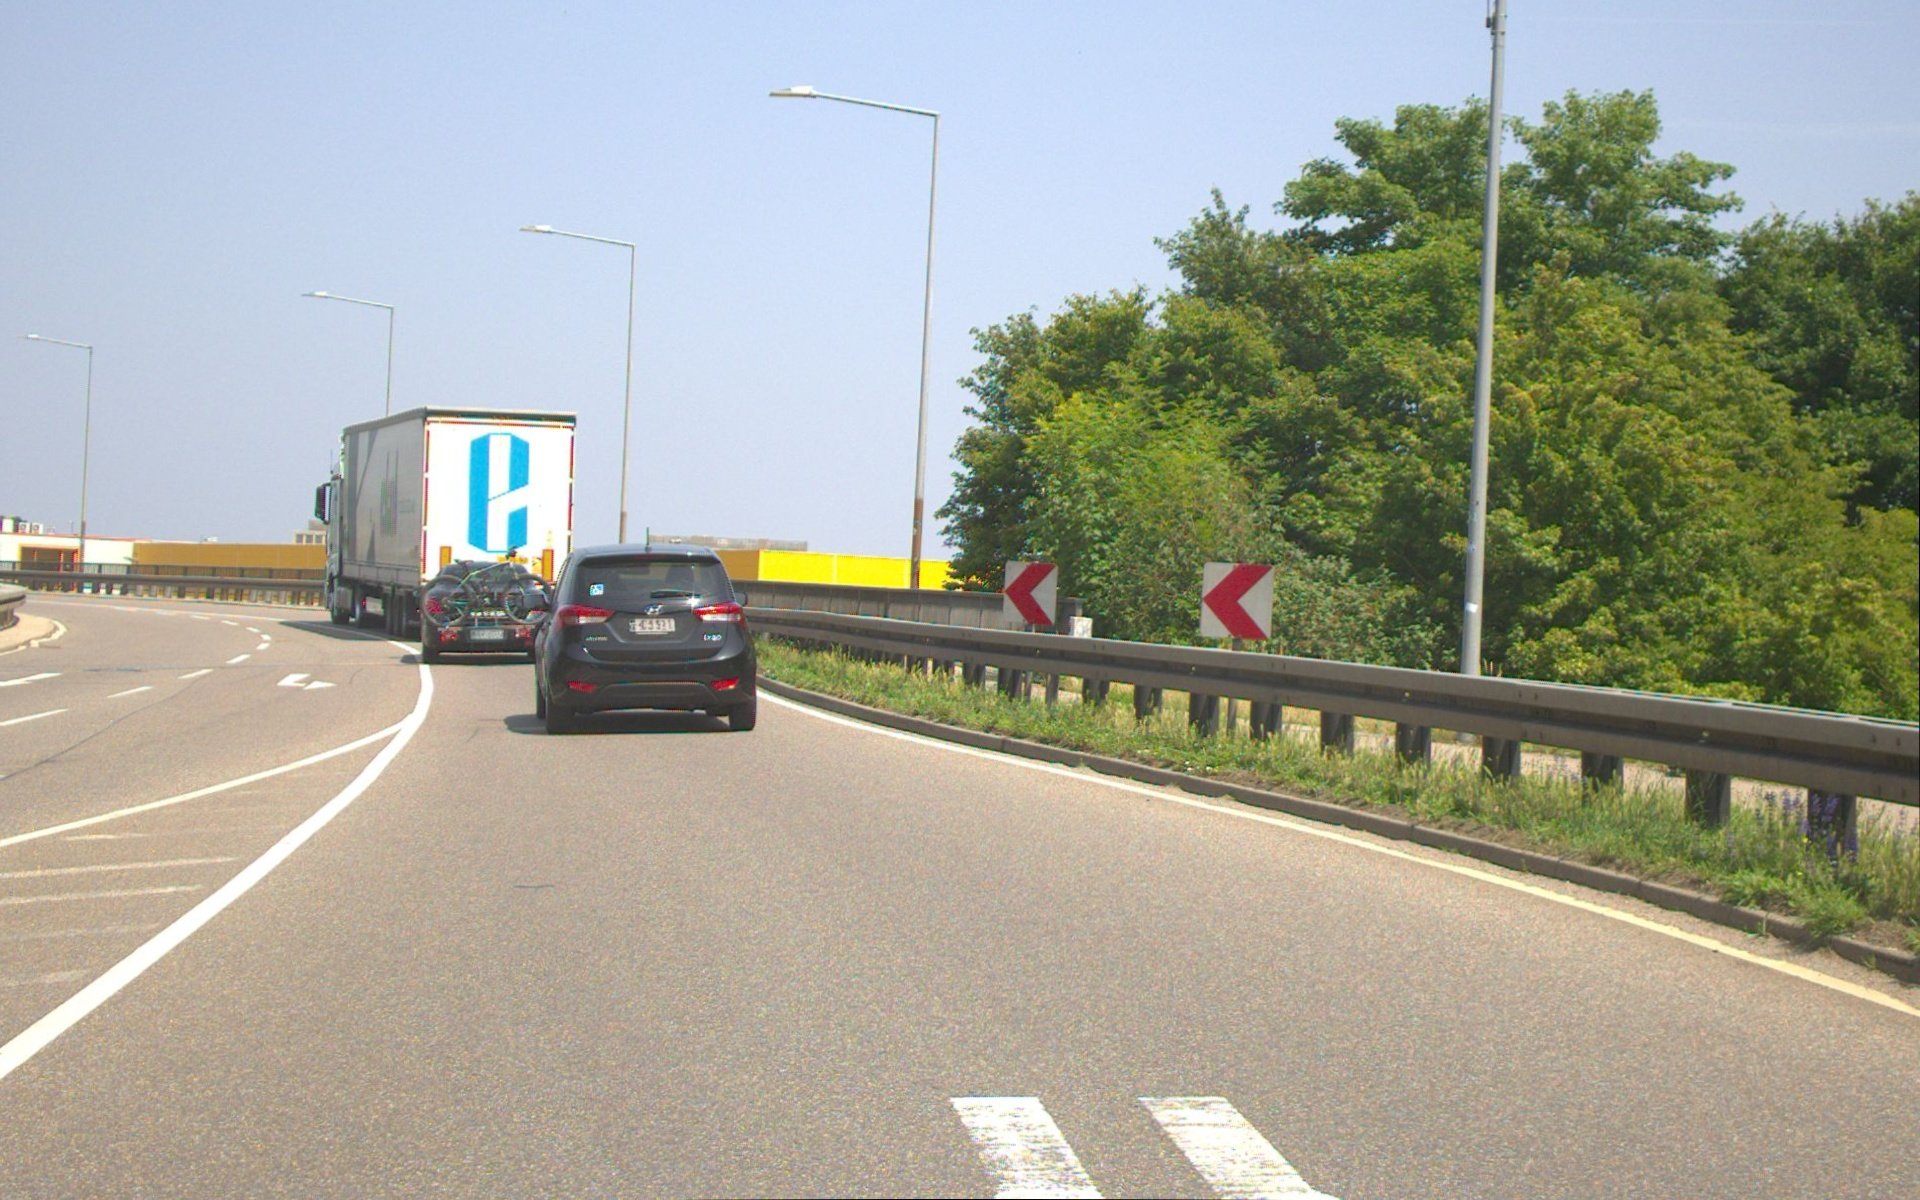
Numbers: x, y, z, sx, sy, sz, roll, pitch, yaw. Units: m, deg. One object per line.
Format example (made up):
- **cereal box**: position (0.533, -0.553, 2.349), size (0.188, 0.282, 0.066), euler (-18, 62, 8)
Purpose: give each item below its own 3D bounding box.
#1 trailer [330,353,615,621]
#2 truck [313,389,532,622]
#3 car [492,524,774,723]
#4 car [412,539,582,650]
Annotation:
- **trailer**: position (-9.195, -1.999, 63.342), size (3.568, 4.369, 11.444), euler (2, 1, -16)
- **truck**: position (-11.109, -1.912, 70.494), size (3.571, 4.426, 6.517), euler (2, 1, -15)
- **car**: position (-2.922, 0.161, 29.983), size (1.921, 1.568, 3.893), euler (2, 1, -13)
- **car**: position (-6.431, -0.095, 48.116), size (2.011, 1.424, 3.777), euler (2, 1, -3)
